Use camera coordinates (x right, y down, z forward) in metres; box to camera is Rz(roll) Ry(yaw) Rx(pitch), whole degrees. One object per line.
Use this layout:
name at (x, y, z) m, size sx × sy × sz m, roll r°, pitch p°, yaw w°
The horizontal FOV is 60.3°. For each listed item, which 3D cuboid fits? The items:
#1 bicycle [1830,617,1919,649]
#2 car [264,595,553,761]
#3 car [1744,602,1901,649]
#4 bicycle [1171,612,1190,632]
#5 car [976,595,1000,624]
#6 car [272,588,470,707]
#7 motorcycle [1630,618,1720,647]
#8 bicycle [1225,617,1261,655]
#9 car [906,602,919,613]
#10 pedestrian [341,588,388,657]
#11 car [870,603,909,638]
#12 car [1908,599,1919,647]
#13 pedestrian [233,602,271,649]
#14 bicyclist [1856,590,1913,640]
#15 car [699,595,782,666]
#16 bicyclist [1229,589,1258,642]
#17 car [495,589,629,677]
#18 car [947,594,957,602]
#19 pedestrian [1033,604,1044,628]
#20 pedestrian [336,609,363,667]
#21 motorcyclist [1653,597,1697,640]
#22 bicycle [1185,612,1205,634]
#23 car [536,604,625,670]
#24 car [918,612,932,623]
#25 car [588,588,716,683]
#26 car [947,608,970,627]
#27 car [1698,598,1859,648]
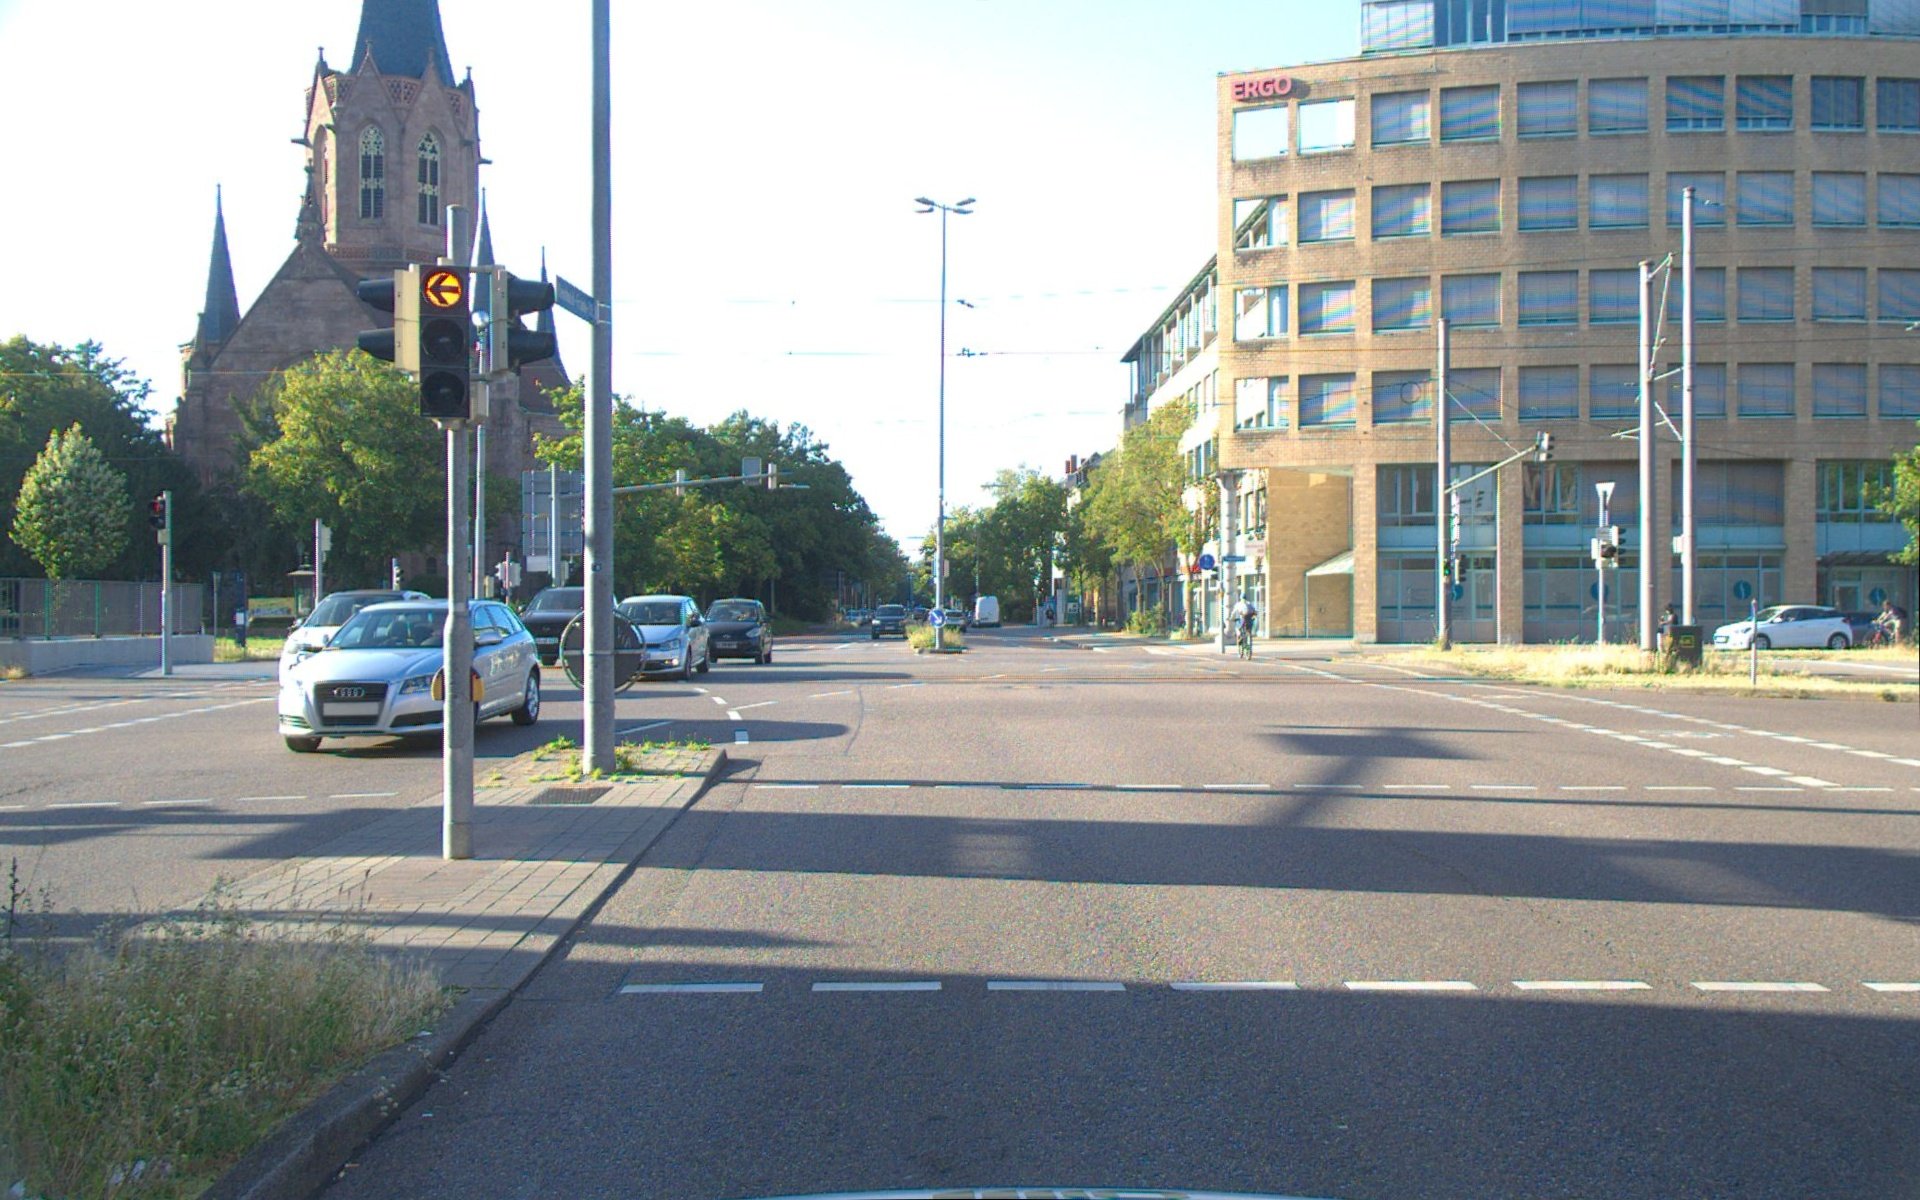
bicycle at (30.325, 1.069, 54.352) m, size 2.901 × 1.018 × 1.153 m, roll 0°, pitch 0°, yaw -3°
car at (-5.585, 0.714, 17.302) m, size 1.674 × 1.450 × 4.101 m, roll -2°, pitch 0°, yaw -1°
car at (29.753, 0.865, 57.127) m, size 4.390 × 1.564 × 1.986 m, roll 0°, pitch -1°, yaw -1°
bicycle at (11.292, 1.127, 84.844) m, size 0.633 × 1.012 × 2.080 m, roll 0°, pitch 0°, yaw -2°
car at (2.456, 0.820, 144.531) m, size 1.953 × 2.483 × 3.999 m, roll 1°, pitch 0°, yaw -1°
car at (-8.617, 0.640, 24.496) m, size 1.641 × 1.571 × 3.637 m, roll -2°, pitch 0°, yaw -1°
motorcycle at (24.602, 1.114, 56.946) m, size 2.663 × 0.981 × 1.031 m, roll 0°, pitch -1°, yaw -2°
bicycle at (7.523, 0.954, 43.996) m, size 0.580 × 0.959 × 1.978 m, roll 1°, pitch 0°, yaw -1°
car at (-7.210, 1.132, 251.009) m, size 1.848 × 1.700 × 3.999 m, roll 1°, pitch 0°, yaw -1°
pedestrian at (-15.465, 0.592, 42.941) m, size 0.945 × 1.770 × 0.811 m, roll 0°, pitch -1°, yaw -3°
car at (-3.722, 1.103, 87.690) m, size 1.953 × 1.754 × 5.029 m, roll -1°, pitch -1°, yaw -2°
car at (32.420, 0.705, 52.194) m, size 3.970 × 1.518 × 1.819 m, roll 0°, pitch -1°, yaw -2°
pedestrian at (-26.696, 0.959, 62.383) m, size 0.994 × 1.726 × 0.844 m, roll 1°, pitch -1°, yaw 27°
bicyclist at (30.368, 0.492, 54.362) m, size 1.198 × 1.599 × 1.153 m, roll 0°, pitch 0°, yaw -3°
car at (-5.248, 0.705, 39.810) m, size 1.546 × 1.571 × 3.476 m, roll -2°, pitch 0°, yaw -1°
bicyclist at (7.518, 0.414, 43.906) m, size 0.580 × 1.393 × 0.929 m, roll 1°, pitch 0°, yaw -1°
car at (-8.645, 0.667, 36.292) m, size 1.779 × 1.740 × 4.785 m, roll -2°, pitch 0°, yaw -1°
car at (-1.287, -0.327, 255.134) m, size 1.562 × 1.289 × 3.266 m, roll 0°, pitch 0°, yaw -1°
pedestrian at (6.168, 1.254, 130.620) m, size 0.830 × 1.835 × 0.775 m, roll 0°, pitch 0°, yaw -1°
pedestrian at (-18.700, 1.160, 50.647) m, size 0.698 × 1.726 × 0.889 m, roll 1°, pitch -1°, yaw -23°
motorcyclist at (24.615, 0.625, 56.953) m, size 1.044 × 1.460 × 1.031 m, roll 0°, pitch -1°, yaw -2°
bicycle at (11.400, 1.109, 80.283) m, size 0.633 × 1.012 × 2.080 m, roll 0°, pitch 0°, yaw -2°
car at (-9.898, 0.941, 43.374) m, size 1.546 × 1.571 × 3.476 m, roll -2°, pitch 0°, yaw -1°
car at (-4.044, 2.054, 192.866) m, size 1.562 × 1.289 × 3.266 m, roll 0°, pitch 0°, yaw -1°
car at (-5.538, 0.594, 30.183) m, size 1.641 × 1.571 × 3.805 m, roll -2°, pitch 0°, yaw -1°
car at (-0.128, 1.183, 114.727) m, size 1.562 × 1.289 × 3.266 m, roll 0°, pitch 0°, yaw -1°
car at (25.661, 0.730, 51.914) m, size 4.080 × 1.518 × 1.994 m, roll 0°, pitch -1°, yaw -3°
